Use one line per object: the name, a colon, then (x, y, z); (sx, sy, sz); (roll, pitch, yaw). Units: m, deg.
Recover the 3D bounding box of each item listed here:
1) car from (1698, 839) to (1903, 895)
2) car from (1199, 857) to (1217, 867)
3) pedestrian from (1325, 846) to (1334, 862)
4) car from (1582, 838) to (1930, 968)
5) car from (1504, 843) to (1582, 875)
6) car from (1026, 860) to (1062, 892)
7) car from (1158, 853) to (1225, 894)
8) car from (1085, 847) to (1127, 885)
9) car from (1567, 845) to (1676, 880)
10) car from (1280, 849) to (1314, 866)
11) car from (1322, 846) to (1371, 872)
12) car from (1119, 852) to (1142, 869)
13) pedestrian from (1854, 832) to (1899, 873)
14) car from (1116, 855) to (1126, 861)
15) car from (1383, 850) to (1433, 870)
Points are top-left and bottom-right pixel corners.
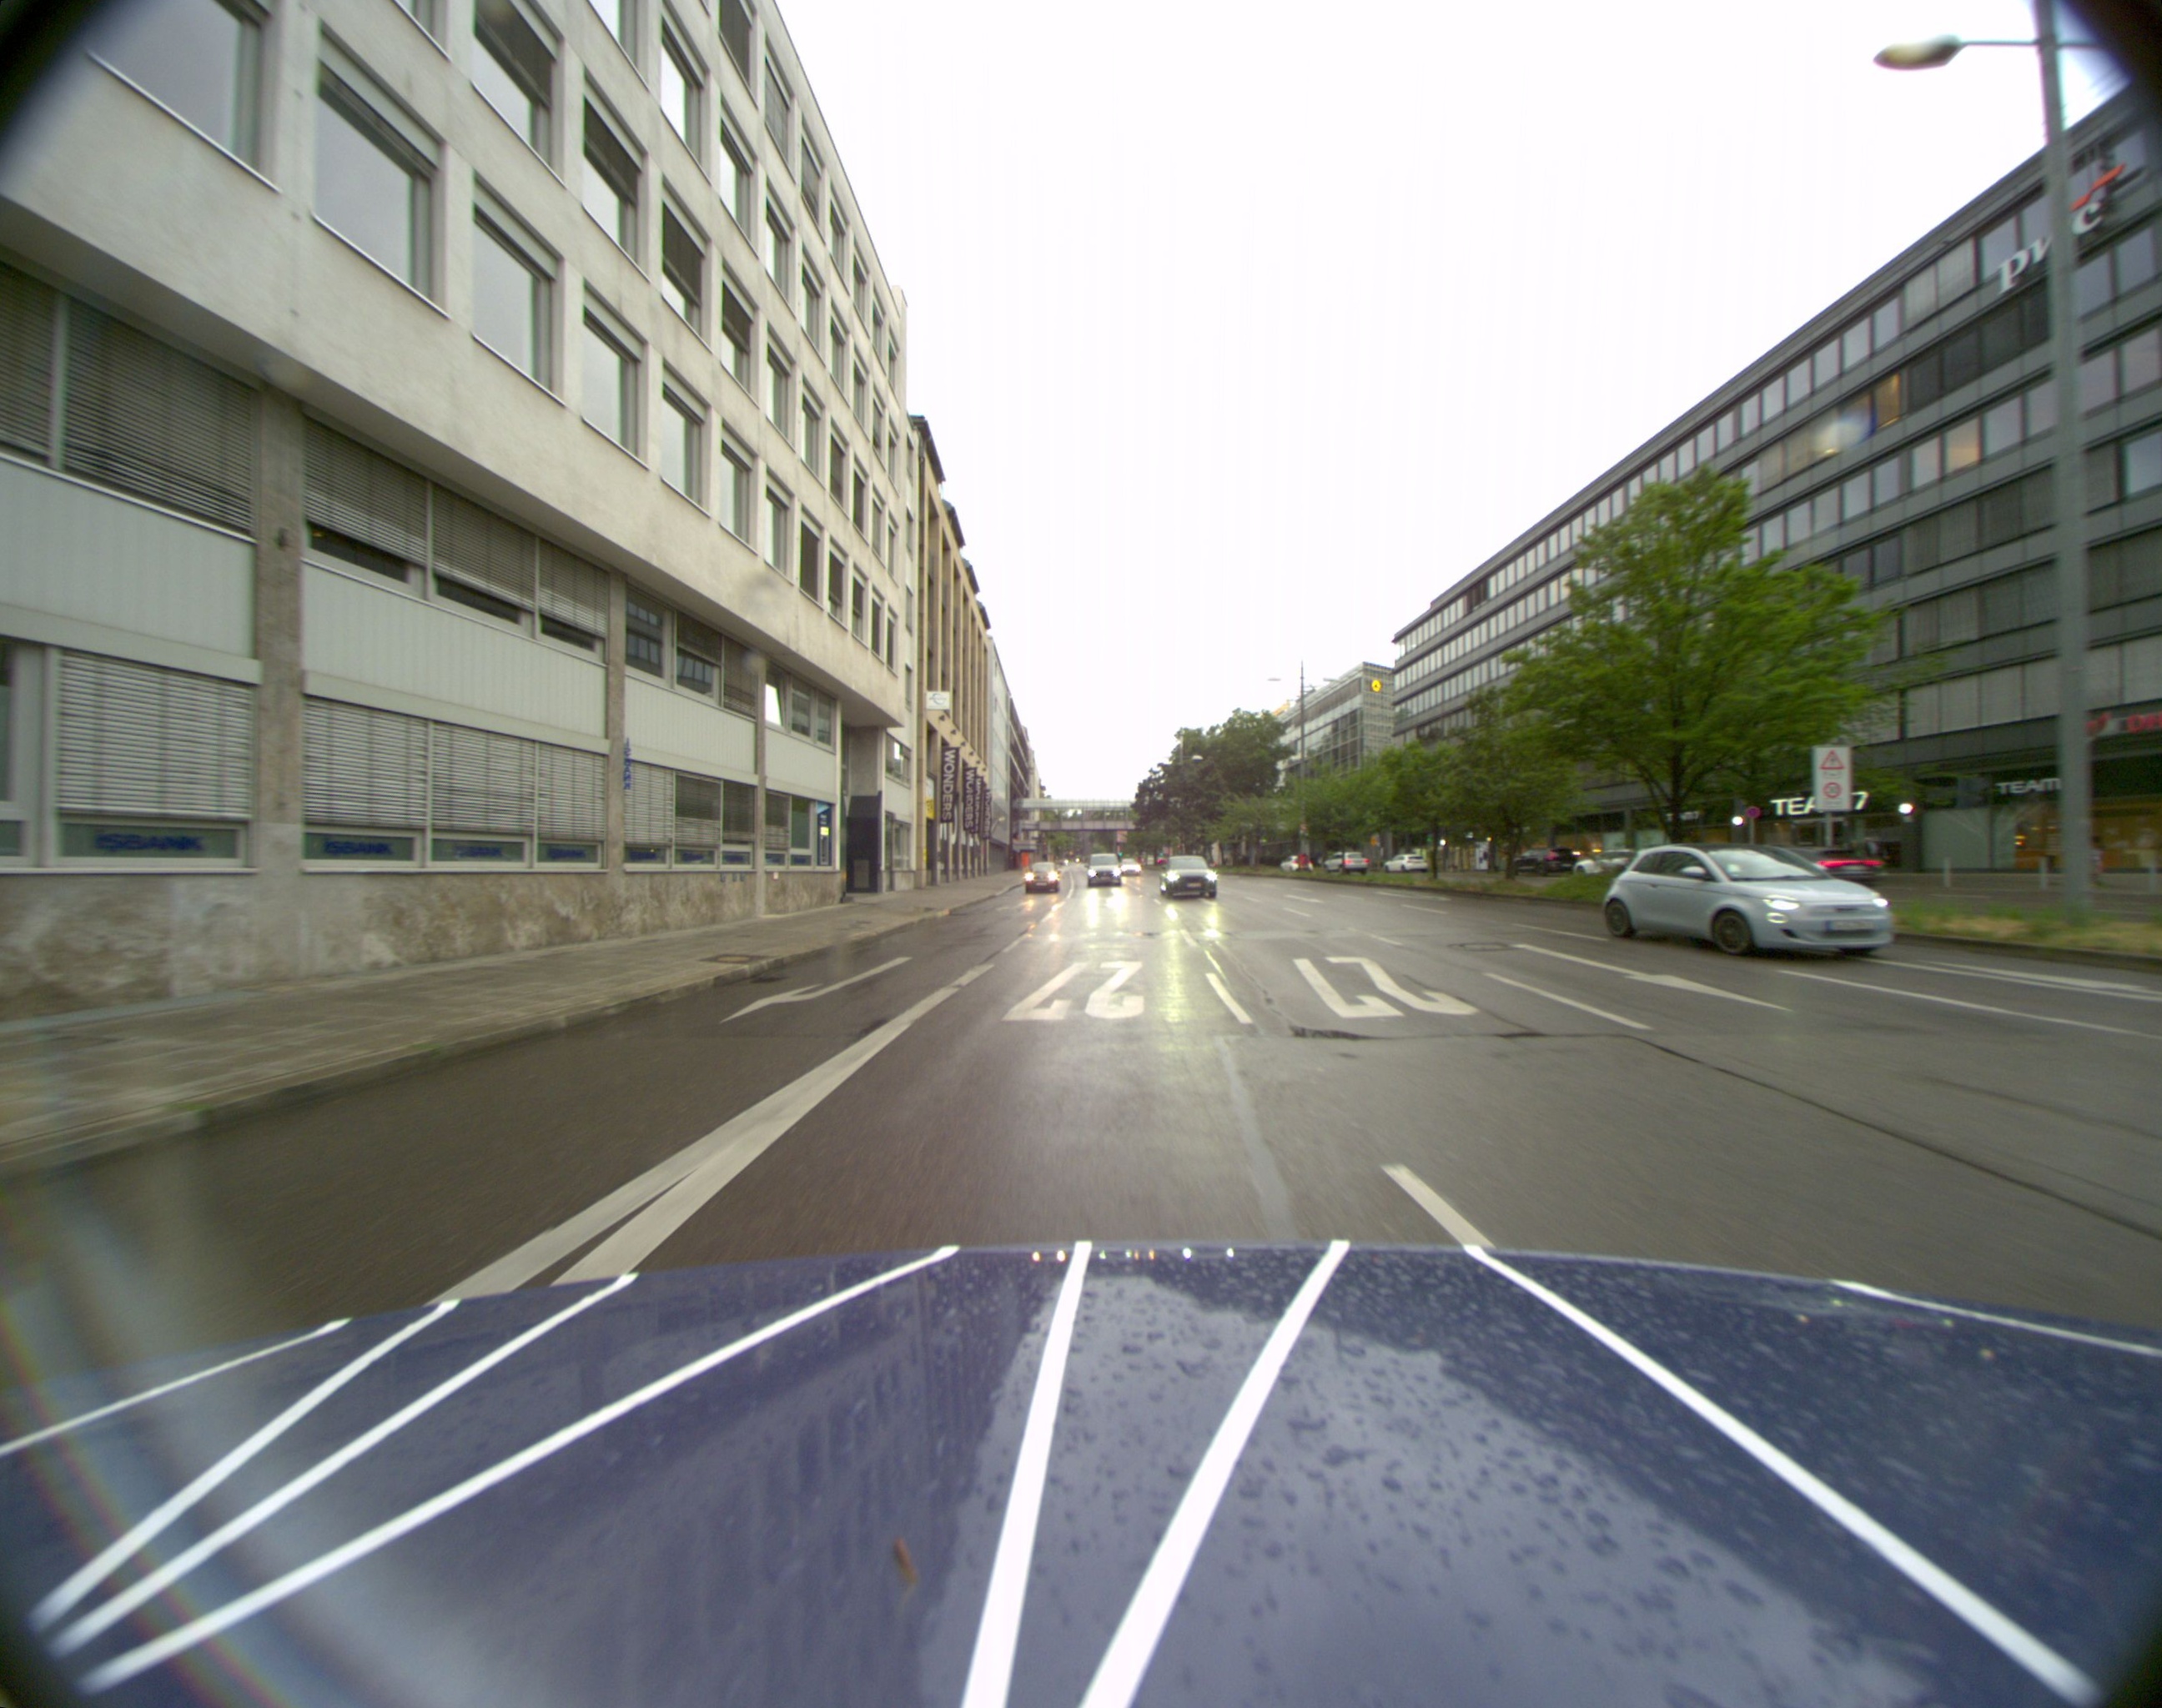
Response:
car: (22.312, 0.371, 23.853); (1.999, 1.535, 4.480); (-1, 0, -5)
car: (18.902, 1.229, 113.381); (1.814, 1.467, 4.300); (-1, 0, -3)
pedestrian: (28.792, 0.005, 88.116); (0.729, 1.822, 0.924); (-2, 1, -1)
car: (9.479, 0.599, 11.137); (1.788, 1.564, 3.691); (-1, 0, -1)
car: (26.051, 0.243, 43.030); (1.813, 1.651, 4.310); (-2, 0, 1)
car: (-1.803, 1.040, 37.735); (1.667, 1.464, 3.483); (-1, 0, -2)
car: (4.130, 0.679, 28.986); (1.941, 1.426, 4.288); (-1, 0, 1)
car: (1.386, 0.667, 44.056); (2.163, 2.014, 5.041); (-1, 0, -1)
car: (26.069, 0.370, 36.886); (1.813, 1.477, 4.772); (-4, 0, 0)
car: (18.784, 0.321, 66.186); (1.687, 1.423, 4.082); (-1, 0, -2)
car: (19.445, 0.356, 55.853); (1.742, 1.718, 4.492); (-2, 0, -3)
car: (4.432, 0.564, 68.551); (1.853, 1.434, 3.870); (-1, 0, 1)
pedestrian: (32.209, -0.061, 30.783); (0.785, 1.628, 0.966); (-1, 0, -1)
car: (9.214, 0.869, 175.988); (1.732, 1.303, 4.075); (-2, 0, -4)
car: (25.538, 0.470, 59.567); (1.814, 1.436, 4.308); (-2, 0, -4)
